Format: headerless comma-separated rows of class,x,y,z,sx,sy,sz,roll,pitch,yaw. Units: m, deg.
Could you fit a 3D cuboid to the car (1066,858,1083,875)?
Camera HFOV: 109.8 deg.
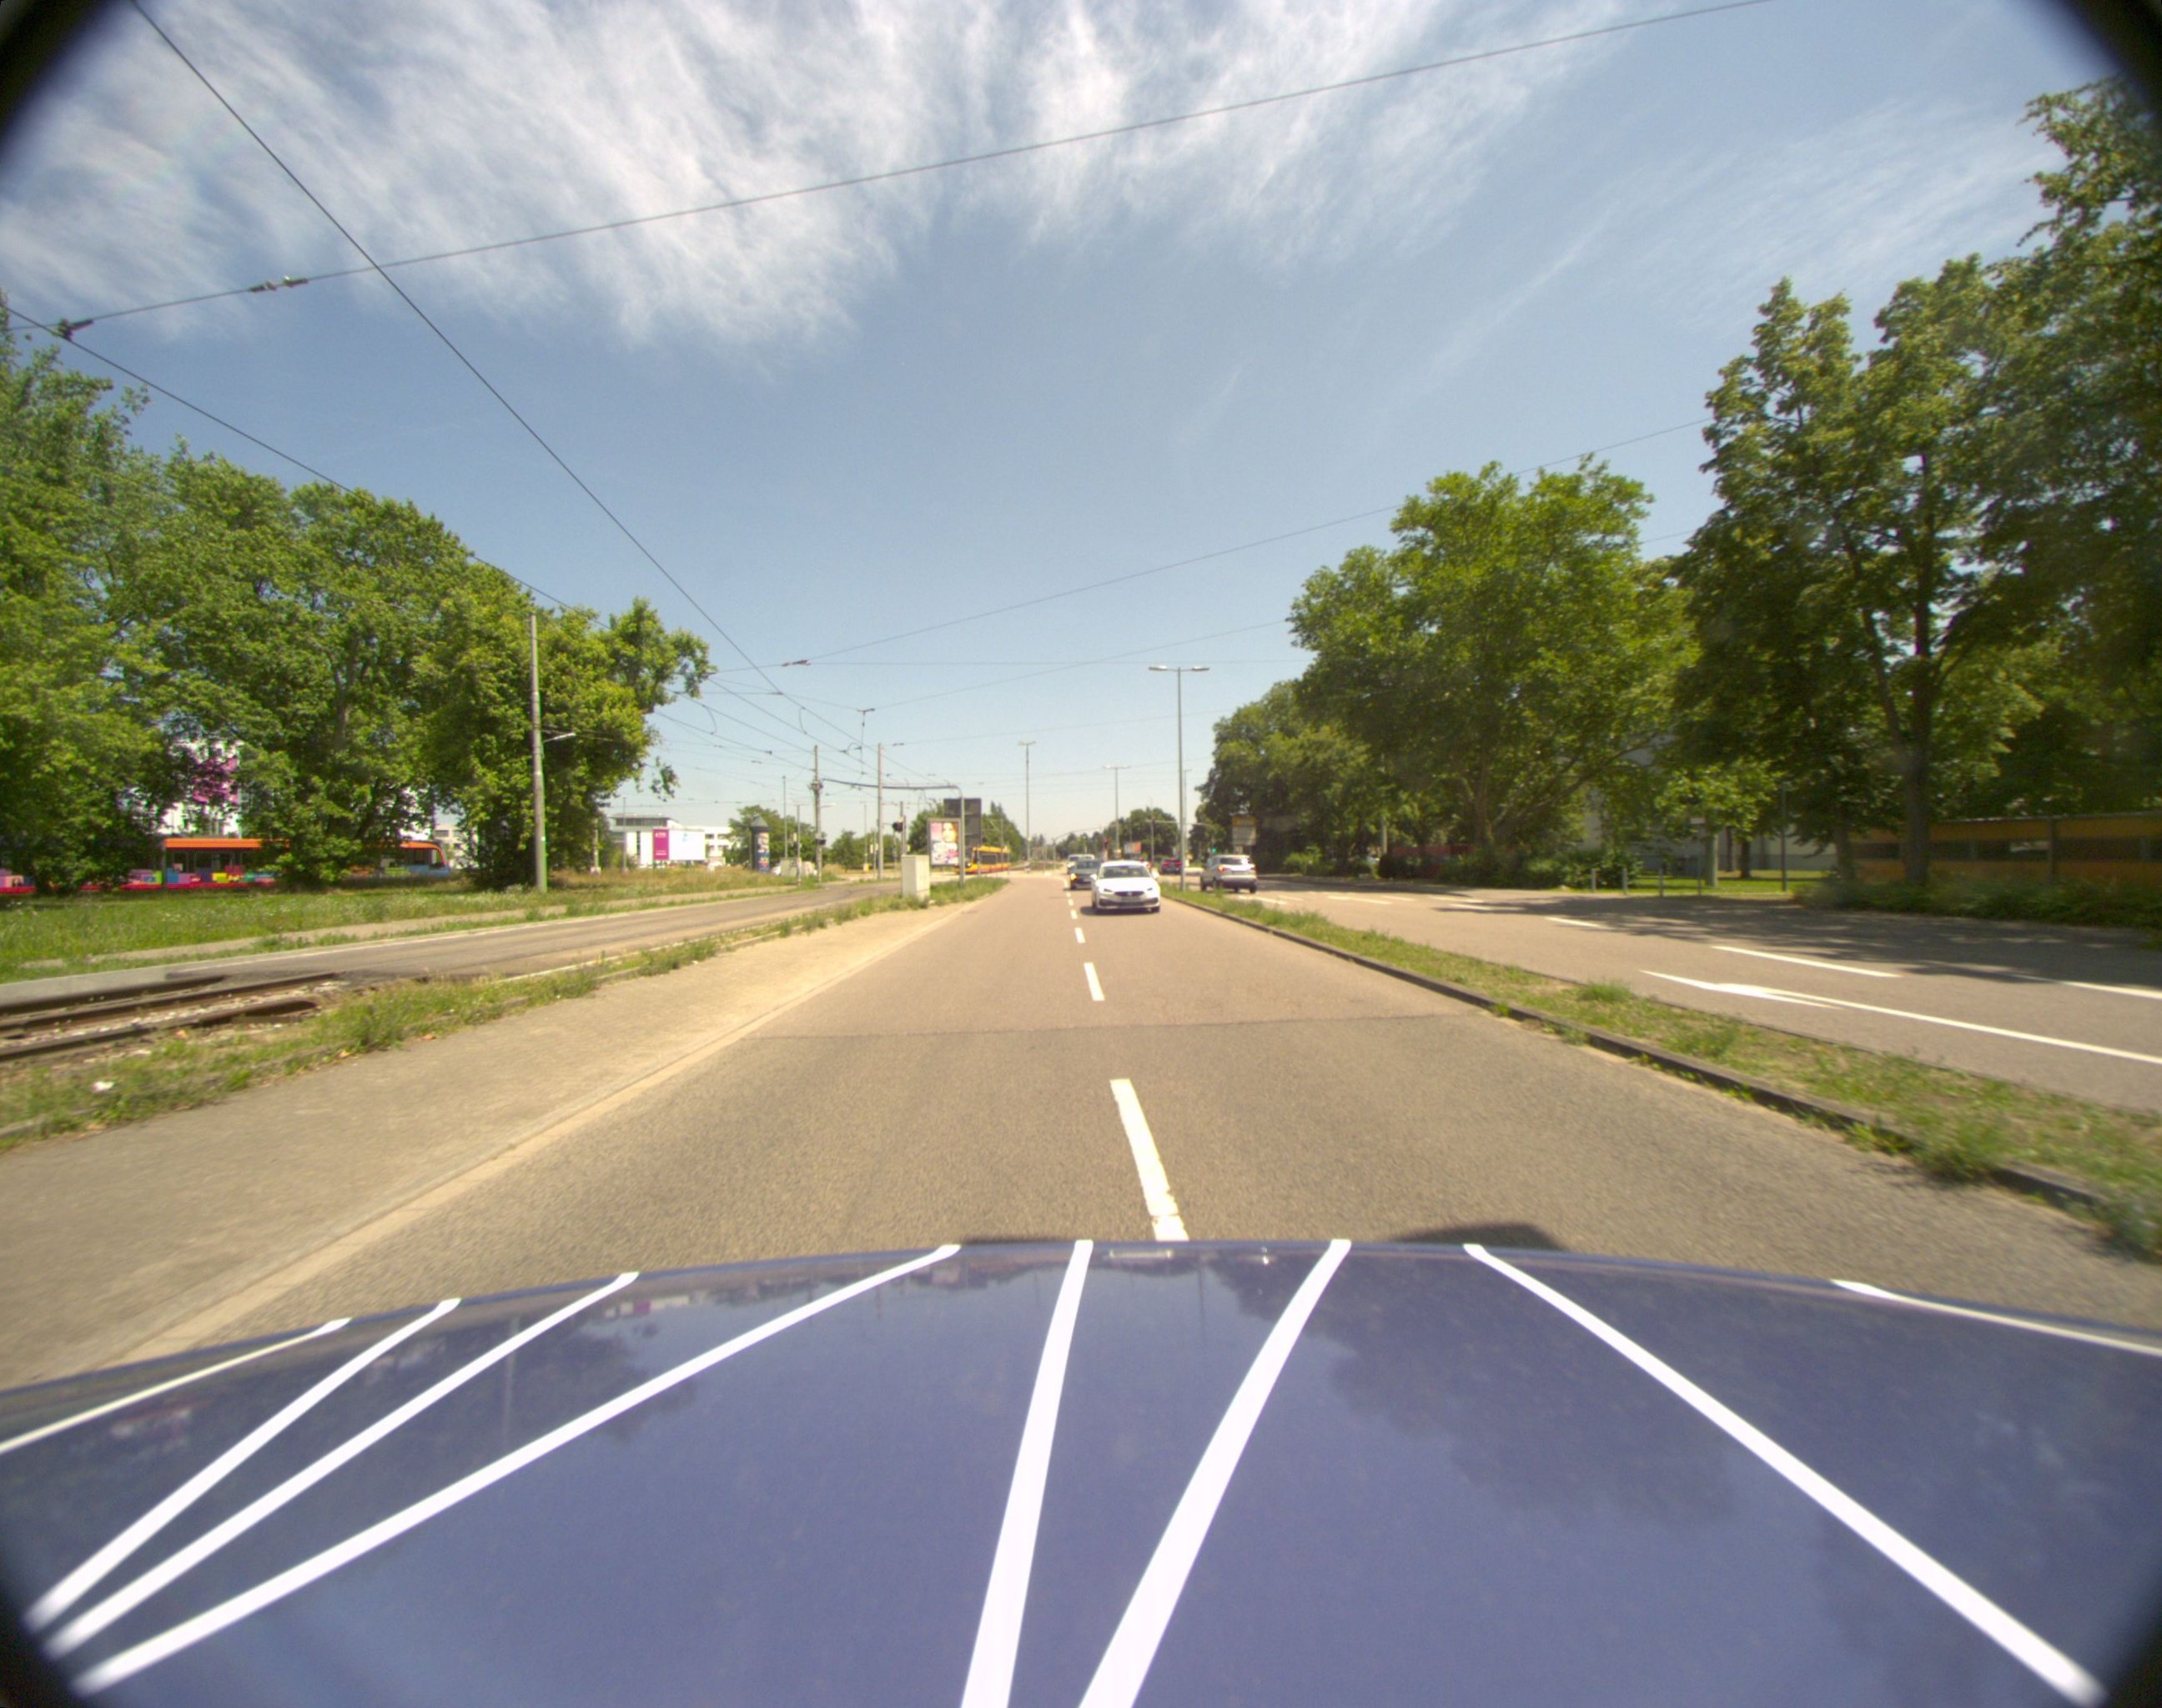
car,-0.670,1.190,73.569,1.553,1.599,3.999,0,0,-2

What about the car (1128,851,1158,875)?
car,5.320,0.788,65.930,1.999,2.002,3.998,0,0,-4

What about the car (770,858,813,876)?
car,-28.932,1.293,76.140,1.849,1.608,4.005,-2,1,18

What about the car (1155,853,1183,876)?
car,8.000,0.941,69.386,1.999,2.002,4.000,0,0,-1

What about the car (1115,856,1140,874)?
car,4.752,1.116,77.782,1.999,1.788,3.998,0,0,-4

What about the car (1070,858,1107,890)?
car,0.386,0.982,39.199,1.788,1.554,4.135,0,0,1

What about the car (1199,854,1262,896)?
car,6.384,0.851,32.914,1.816,1.631,3.999,-2,1,-1

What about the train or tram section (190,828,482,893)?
train or tram section,-47.789,0.277,49.774,13.275,3.628,2.708,-3,1,-39

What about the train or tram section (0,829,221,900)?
train or tram section,-55.738,0.546,40.219,2.708,3.627,13.276,0,0,27

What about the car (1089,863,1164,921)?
car,1.220,1.029,22.202,1.772,1.460,4.111,-2,0,-2

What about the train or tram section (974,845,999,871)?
train or tram section,-12.535,0.556,101.134,2.525,3.303,7.259,0,0,0

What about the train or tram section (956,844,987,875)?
train or tram section,-12.438,0.595,86.606,2.525,3.303,7.259,0,0,0
